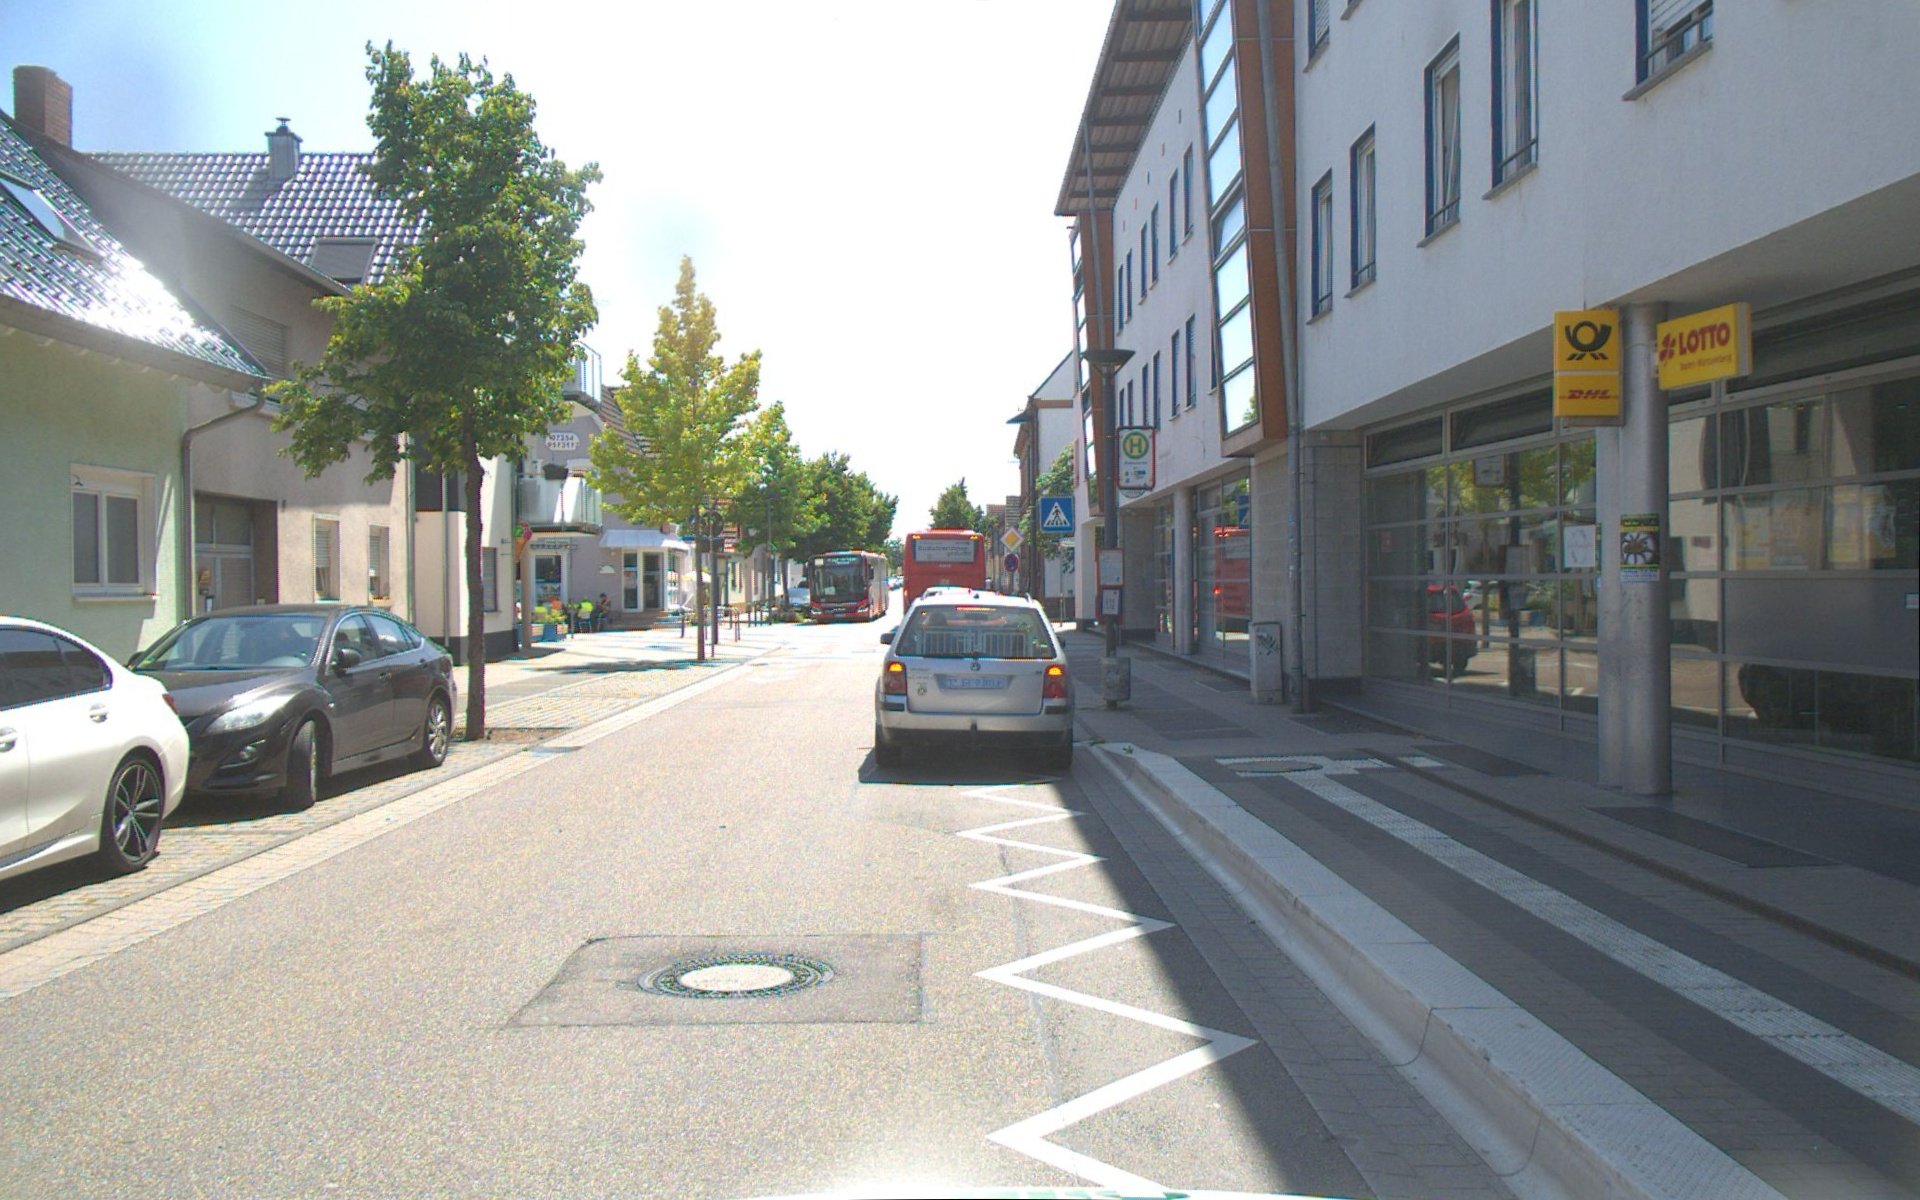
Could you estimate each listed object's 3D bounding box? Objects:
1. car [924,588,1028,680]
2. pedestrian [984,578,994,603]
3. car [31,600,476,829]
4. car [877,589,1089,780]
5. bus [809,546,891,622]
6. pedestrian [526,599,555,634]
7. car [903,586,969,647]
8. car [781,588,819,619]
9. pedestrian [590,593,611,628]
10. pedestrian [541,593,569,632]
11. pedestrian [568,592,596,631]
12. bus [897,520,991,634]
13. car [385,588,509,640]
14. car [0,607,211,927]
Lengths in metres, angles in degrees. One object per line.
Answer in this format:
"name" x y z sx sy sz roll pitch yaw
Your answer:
"car" 0.218 0.533 28.240 1.643 1.455 3.678 1 0 -1
"pedestrian" 1.985 -0.632 113.195 0.594 1.696 0.789 -1 0 -3
"car" -5.376 0.762 13.300 1.626 1.462 4.538 -1 0 0
"car" 0.146 0.659 14.983 1.643 1.455 3.678 2 0 -1
"bus" -4.943 -0.766 77.756 2.614 3.178 17.807 0 1 0
"pedestrian" -14.311 0.563 56.429 0.631 1.135 0.776 2 0 -44
"car" -0.581 0.388 41.599 1.561 1.455 3.679 1 0 0
"car" -7.930 0.172 82.046 1.572 1.463 4.064 -1 0 -1
"pedestrian" -12.688 0.373 58.367 0.610 1.199 0.696 -1 0 -5
"pedestrian" -14.063 0.431 57.419 0.631 1.311 0.776 2 0 -44
"pedestrian" -13.076 0.399 57.224 0.631 1.311 0.776 2 0 -44
"bus" -0.701 -0.713 55.035 2.685 3.356 12.699 0 0 -2
"car" -16.971 0.441 54.812 3.855 1.572 1.511 -1 2 -18
"car" -5.305 0.793 7.689 1.685 1.462 4.458 0 0 -1
